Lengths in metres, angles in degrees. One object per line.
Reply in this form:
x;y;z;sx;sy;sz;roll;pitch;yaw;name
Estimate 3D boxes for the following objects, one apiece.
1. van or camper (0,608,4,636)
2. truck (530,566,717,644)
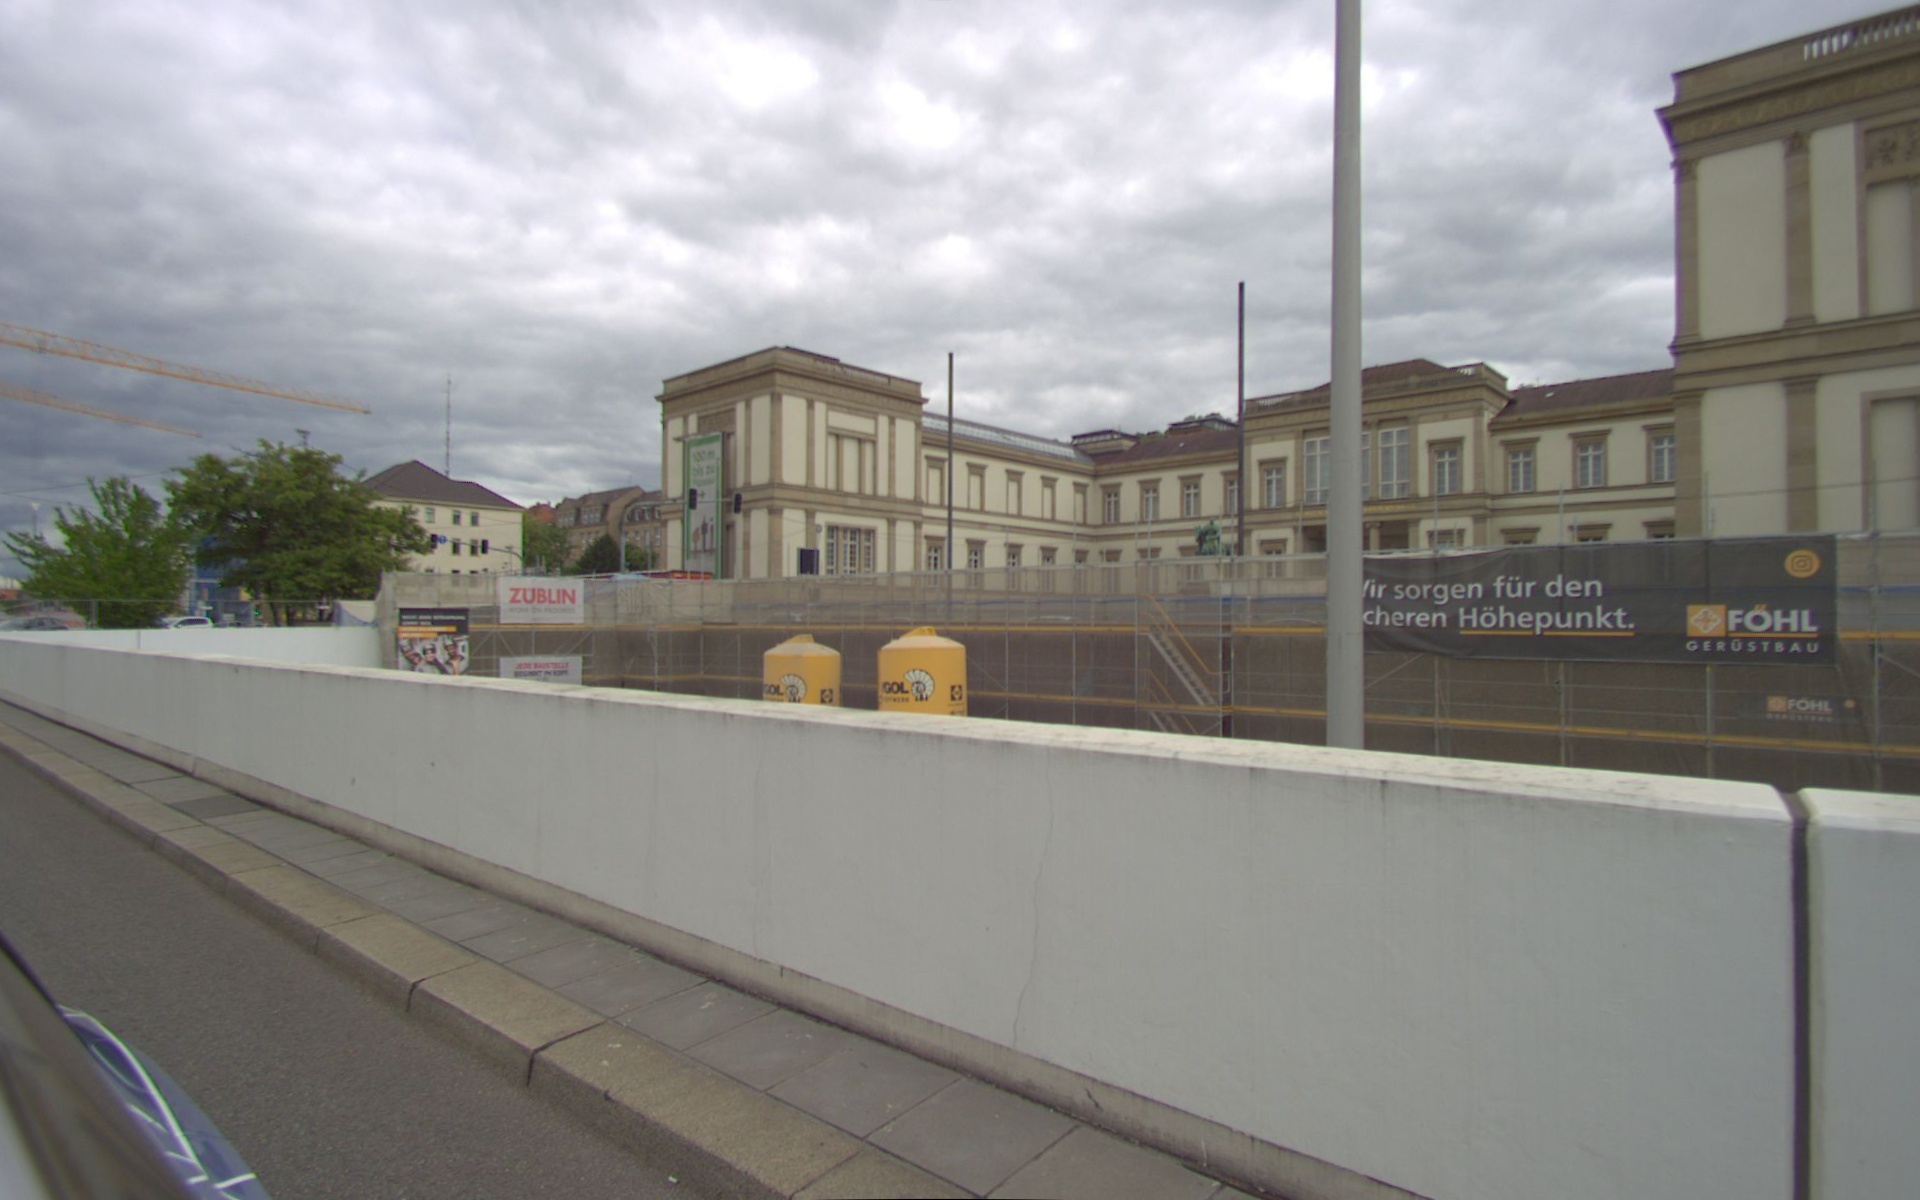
-77.683;1.771;80.040;1.965;2.244;4.013;1;0;-28;van or camper
-20.402;0.444;60.123;16.613;4.114;2.885;-1;-3;43;truck
